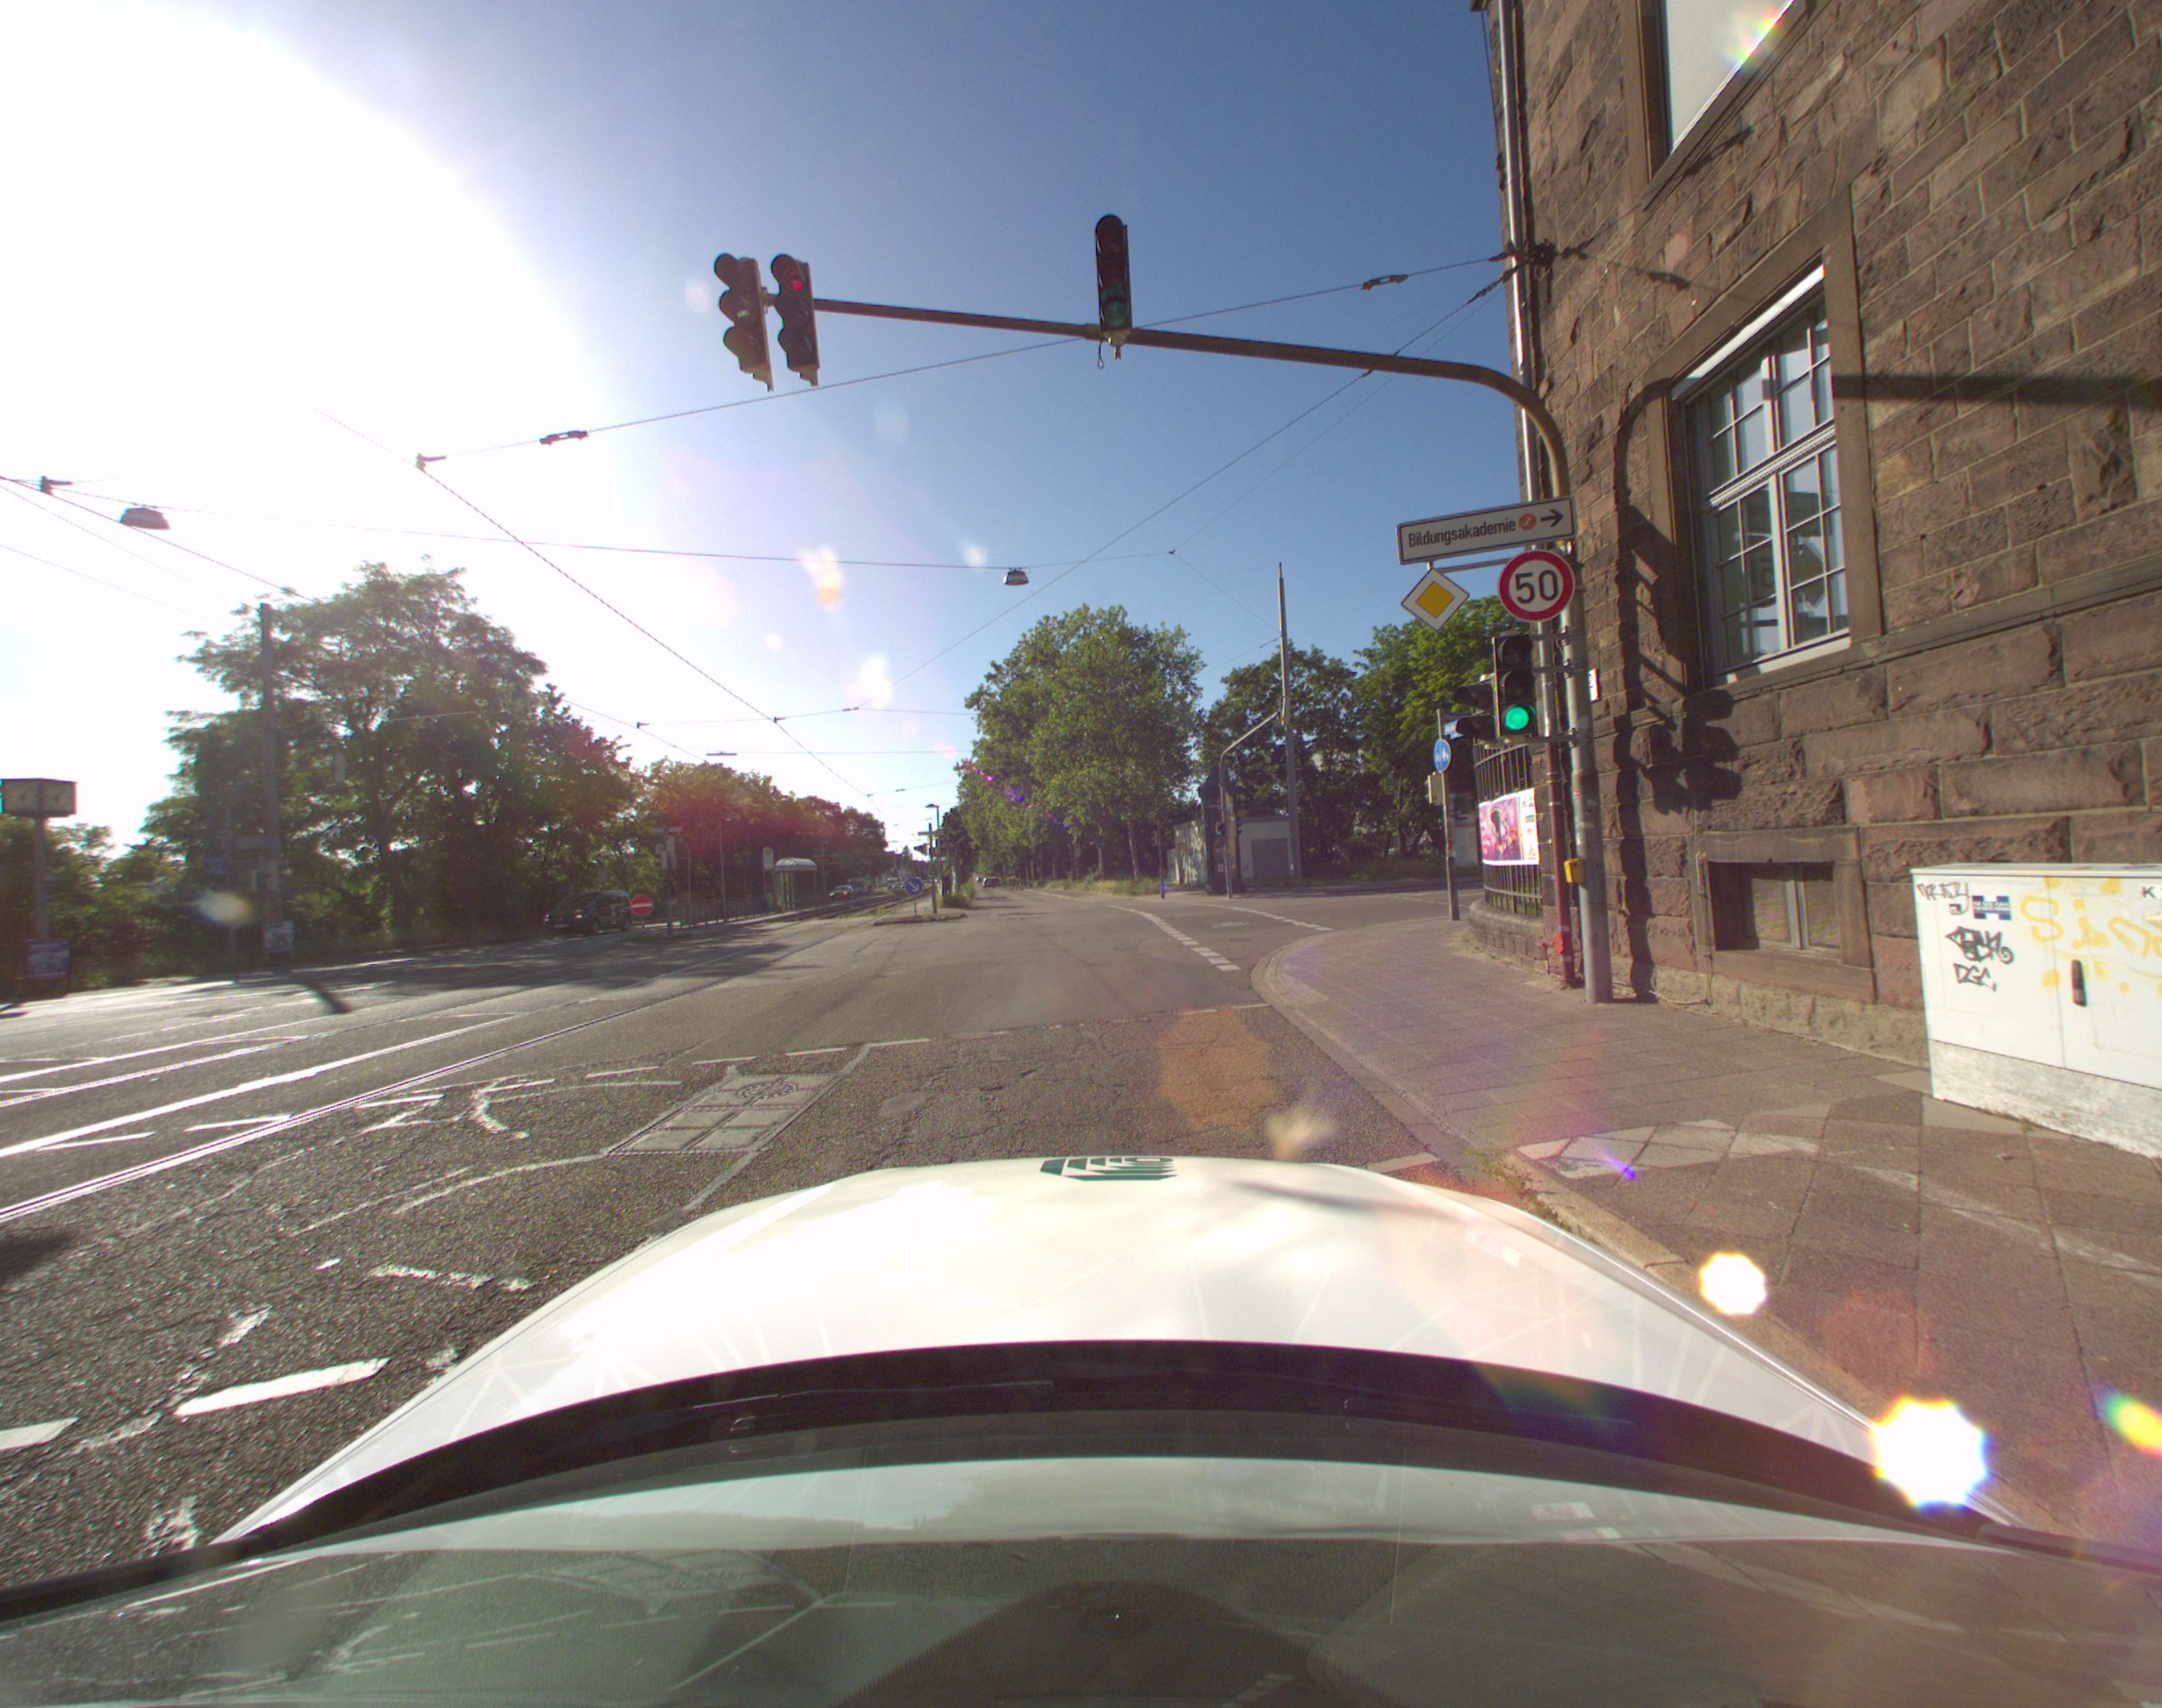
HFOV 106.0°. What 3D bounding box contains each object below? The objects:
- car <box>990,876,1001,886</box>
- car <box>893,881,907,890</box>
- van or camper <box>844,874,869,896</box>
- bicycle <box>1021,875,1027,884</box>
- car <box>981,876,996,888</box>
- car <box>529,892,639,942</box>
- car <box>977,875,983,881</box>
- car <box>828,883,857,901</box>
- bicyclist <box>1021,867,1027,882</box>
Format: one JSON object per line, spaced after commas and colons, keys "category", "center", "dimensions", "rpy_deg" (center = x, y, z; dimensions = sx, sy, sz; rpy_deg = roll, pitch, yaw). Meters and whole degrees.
{"category": "car", "center": [-14.568, 4.582, 139.134], "dimensions": [1.749, 1.604, 3.740], "rpy_deg": [-2, -1, -7]}
{"category": "car", "center": [-31.458, 5.448, 141.532], "dimensions": [1.993, 1.469, 4.362], "rpy_deg": [-3, -1, -9]}
{"category": "van or camper", "center": [-33.724, 4.642, 122.514], "dimensions": [2.588, 3.106, 6.769], "rpy_deg": [-4, -1, -8]}
{"category": "bicycle", "center": [-6.867, 3.083, 98.630], "dimensions": [0.536, 1.066, 1.429], "rpy_deg": [-3, -1, -9]}
{"category": "car", "center": [-12.749, 3.849, 111.926], "dimensions": [1.866, 1.486, 3.546], "rpy_deg": [-3, -1, -7]}
{"category": "car", "center": [-20.157, 2.493, 33.319], "dimensions": [1.993, 1.767, 5.015], "rpy_deg": [-3, -2, -9]}
{"category": "car", "center": [-28.912, 6.974, 232.899], "dimensions": [1.750, 1.604, 3.569], "rpy_deg": [-3, -1, -9]}
{"category": "car", "center": [-23.622, 3.772, 80.710], "dimensions": [1.918, 1.567, 3.991], "rpy_deg": [-4, -1, -6]}
{"category": "bicyclist", "center": [-6.905, 2.515, 98.669], "dimensions": [0.534, 1.770, 0.710], "rpy_deg": [-3, -1, -10]}
